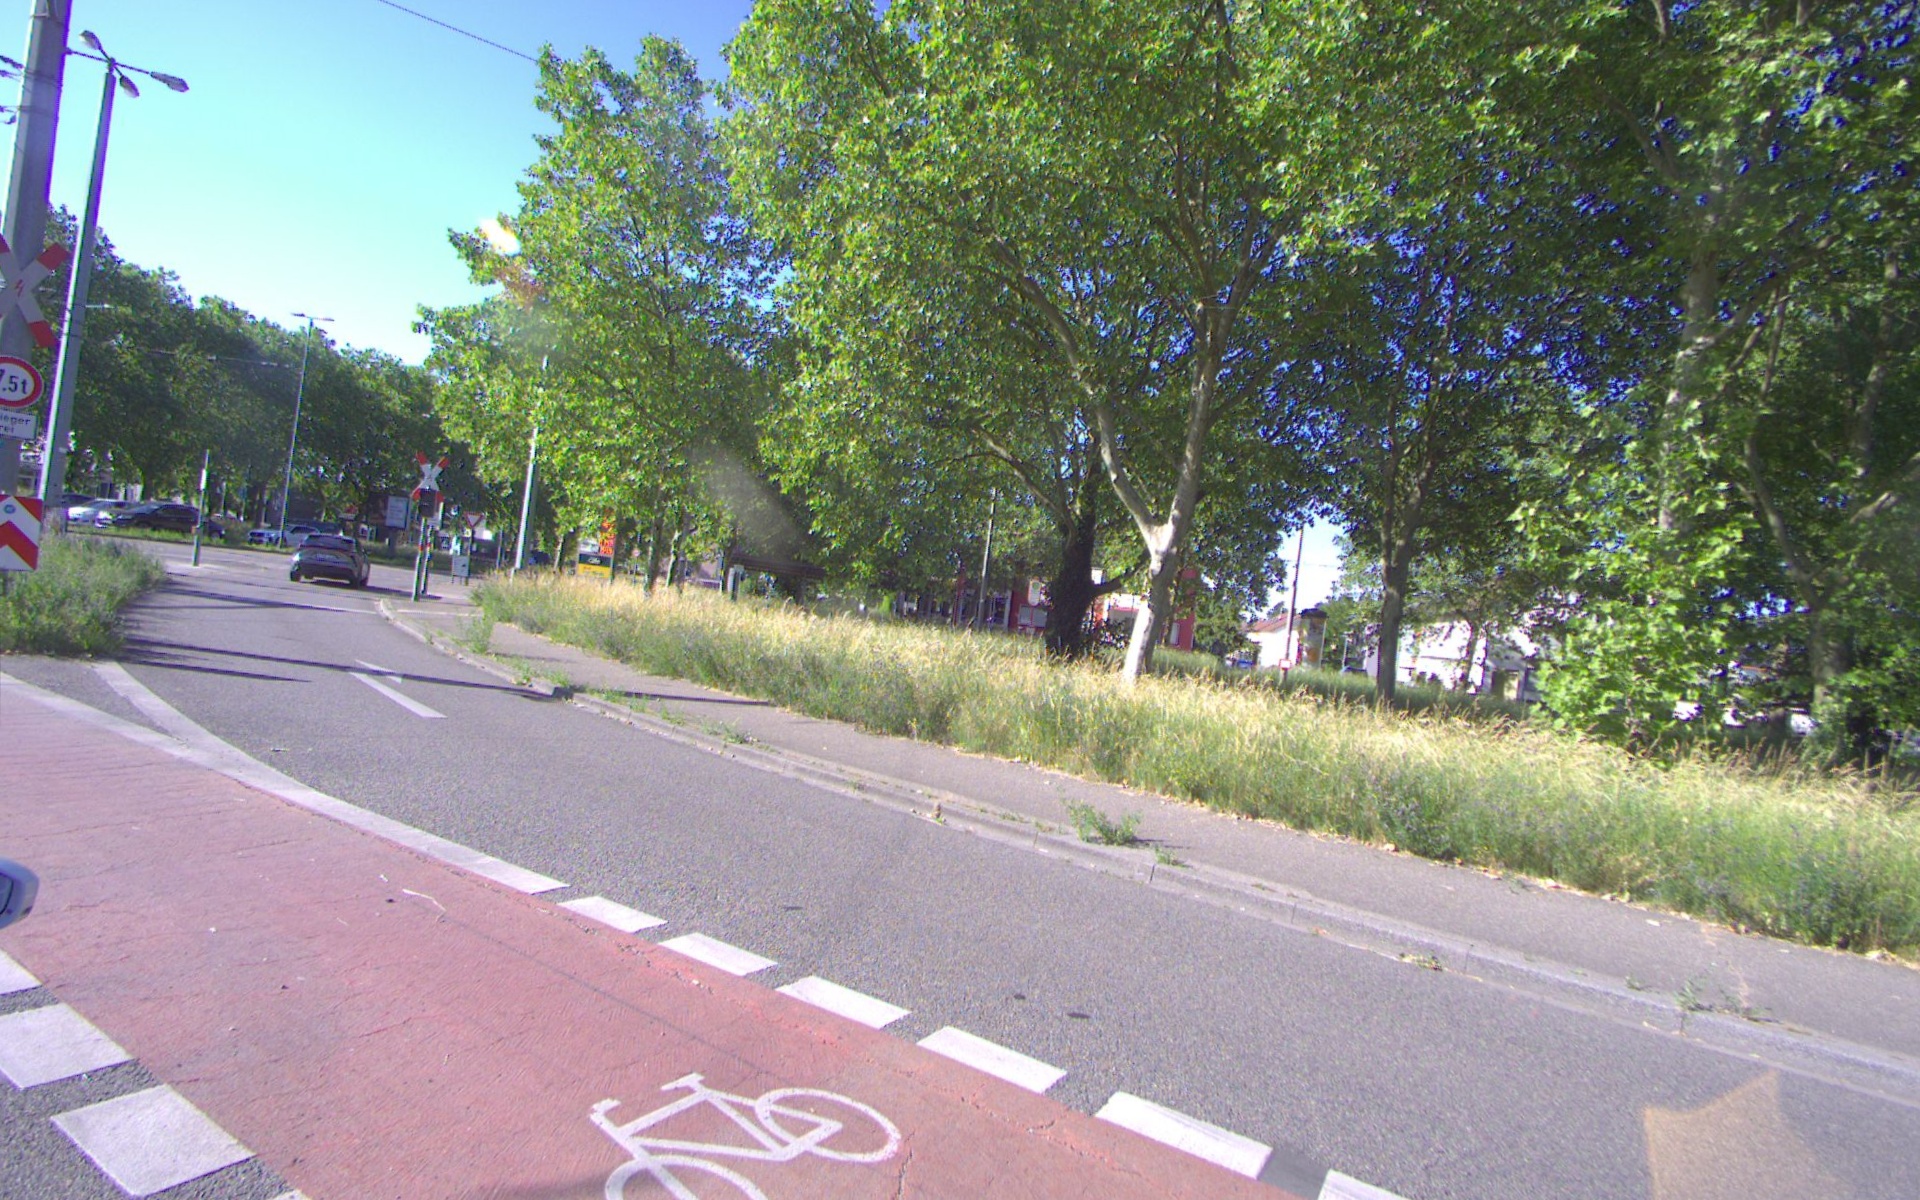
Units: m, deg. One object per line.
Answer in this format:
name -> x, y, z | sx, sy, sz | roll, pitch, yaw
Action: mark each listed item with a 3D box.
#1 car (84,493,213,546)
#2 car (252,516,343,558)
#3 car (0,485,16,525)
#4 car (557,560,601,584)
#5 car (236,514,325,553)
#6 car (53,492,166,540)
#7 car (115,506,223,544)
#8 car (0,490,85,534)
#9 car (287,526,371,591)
car -> -36.898, -3.616, 45.904 | 1.885, 1.732, 4.497 | 7, -1, 4
car -> -44.848, -4.257, 68.281 | 2.090, 2.095, 5.124 | 7, -1, 8
car -> -41.032, -4.122, 40.513 | 1.782, 1.620, 4.093 | 7, -1, 7
car -> -33.306, -2.415, 87.995 | 1.962, 1.637, 4.002 | 7, -1, 4
car -> -42.071, -4.077, 62.413 | 1.873, 1.701, 4.782 | 7, -2, 4
car -> -40.383, -3.954, 47.869 | 1.680, 1.620, 3.862 | 7, -1, 7
car -> -43.031, -4.061, 54.867 | 1.898, 1.425, 4.572 | 7, -1, 5
car -> -44.247, -4.225, 47.835 | 1.681, 1.620, 3.861 | 7, -1, 3
car -> -20.332, -1.351, 32.548 | 1.806, 1.724, 3.747 | 8, -1, -27
